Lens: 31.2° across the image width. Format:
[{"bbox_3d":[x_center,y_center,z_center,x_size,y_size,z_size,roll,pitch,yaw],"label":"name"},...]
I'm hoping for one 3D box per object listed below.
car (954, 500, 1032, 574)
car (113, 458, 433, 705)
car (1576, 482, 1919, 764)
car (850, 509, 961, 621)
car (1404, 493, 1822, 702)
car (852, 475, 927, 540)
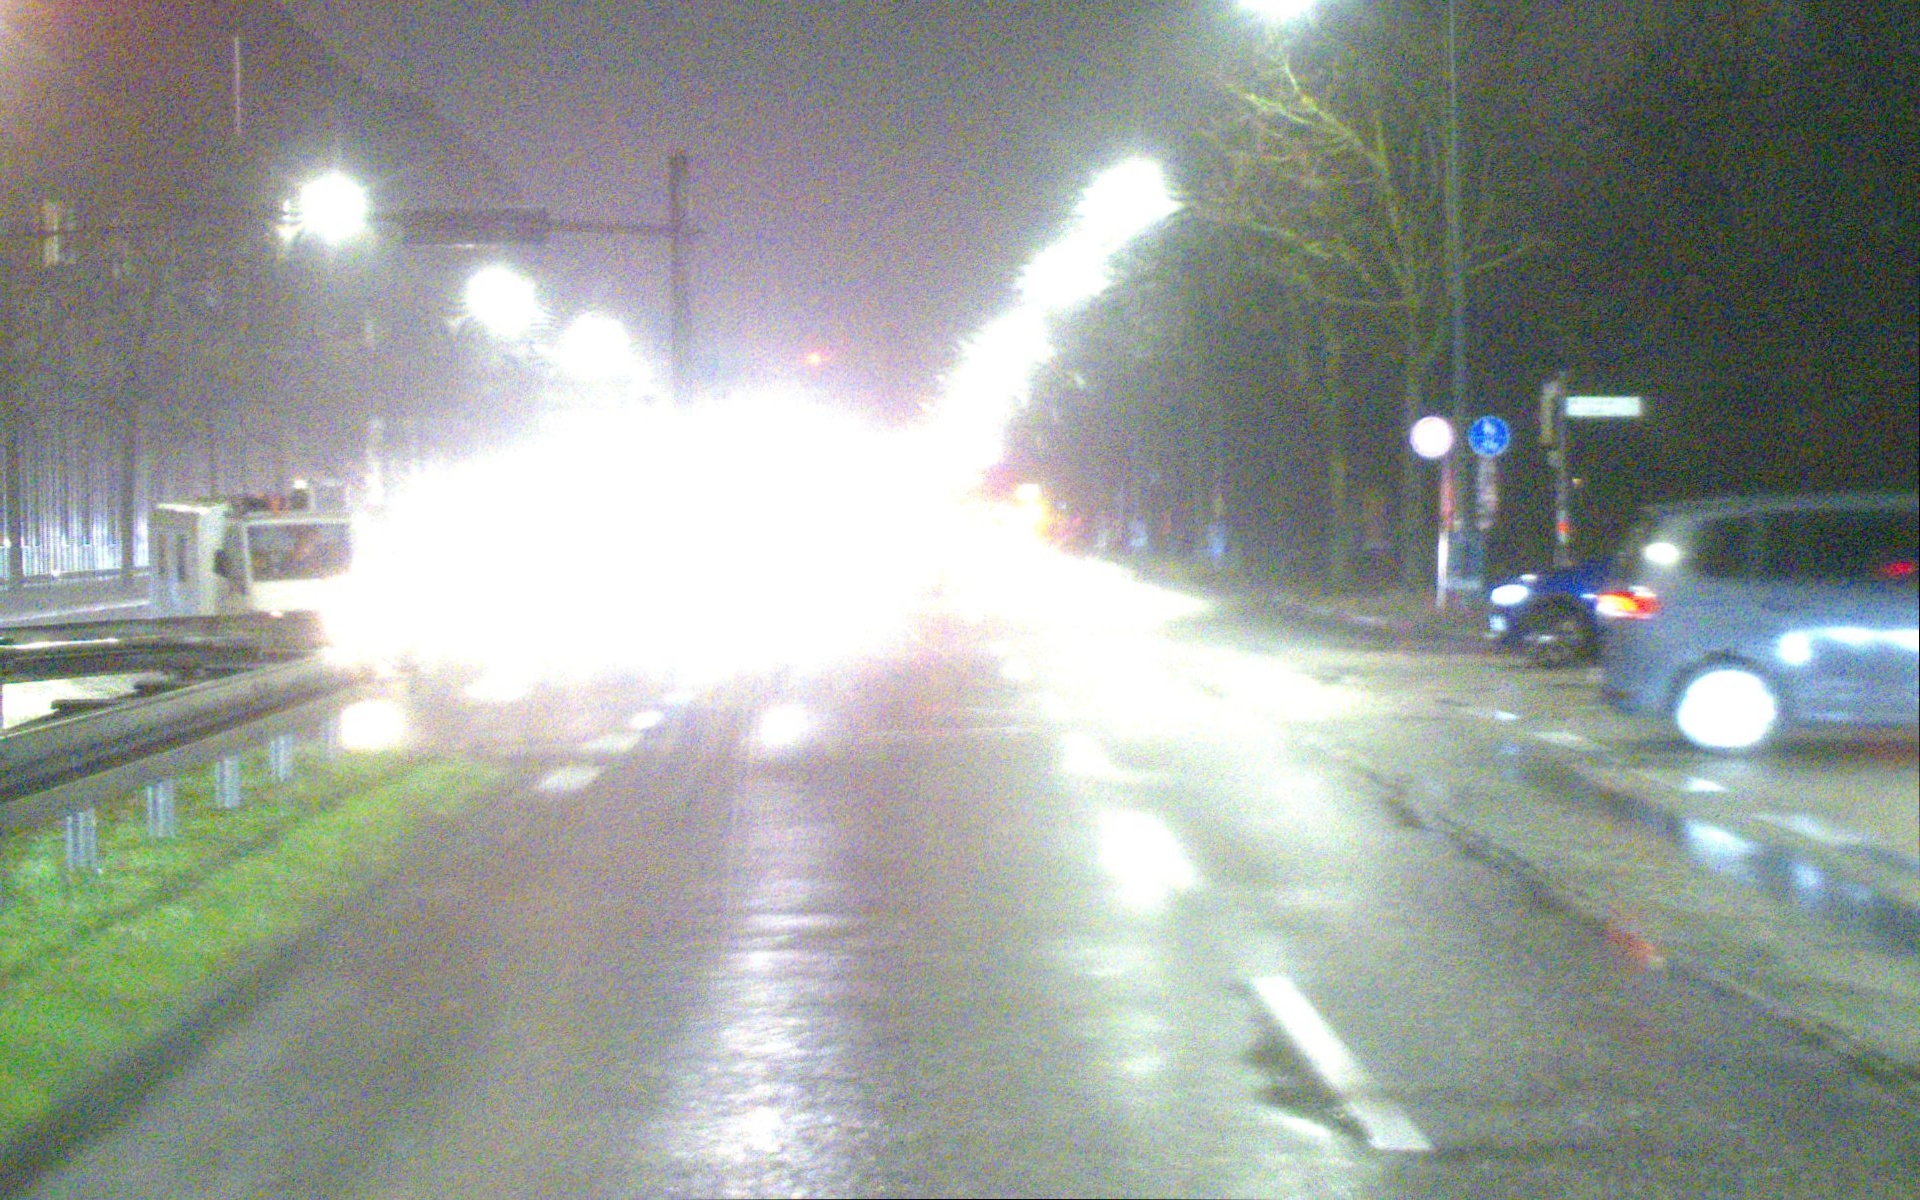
[{"bbox_3d":[0.933,-1.717,95.294,2.038,2.007,4.307,0,0,2],"label":"car"},{"bbox_3d":[-6.029,-0.164,29.900,1.698,2.007,3.568,0,0,-30],"label":"car"},{"bbox_3d":[6.159,0.132,21.215,4.406,1.667,1.957,0,0,18],"label":"car"},{"bbox_3d":[-1.007,-0.658,65.878,2.038,2.075,4.307,0,0,0],"label":"car"},{"bbox_3d":[6.557,-0.040,34.385,3.989,2.007,1.999,0,0,14],"label":"car"},{"bbox_3d":[-2.534,-3.250,121.864,2.441,2.186,5.079,0,0,-3],"label":"car"}]
